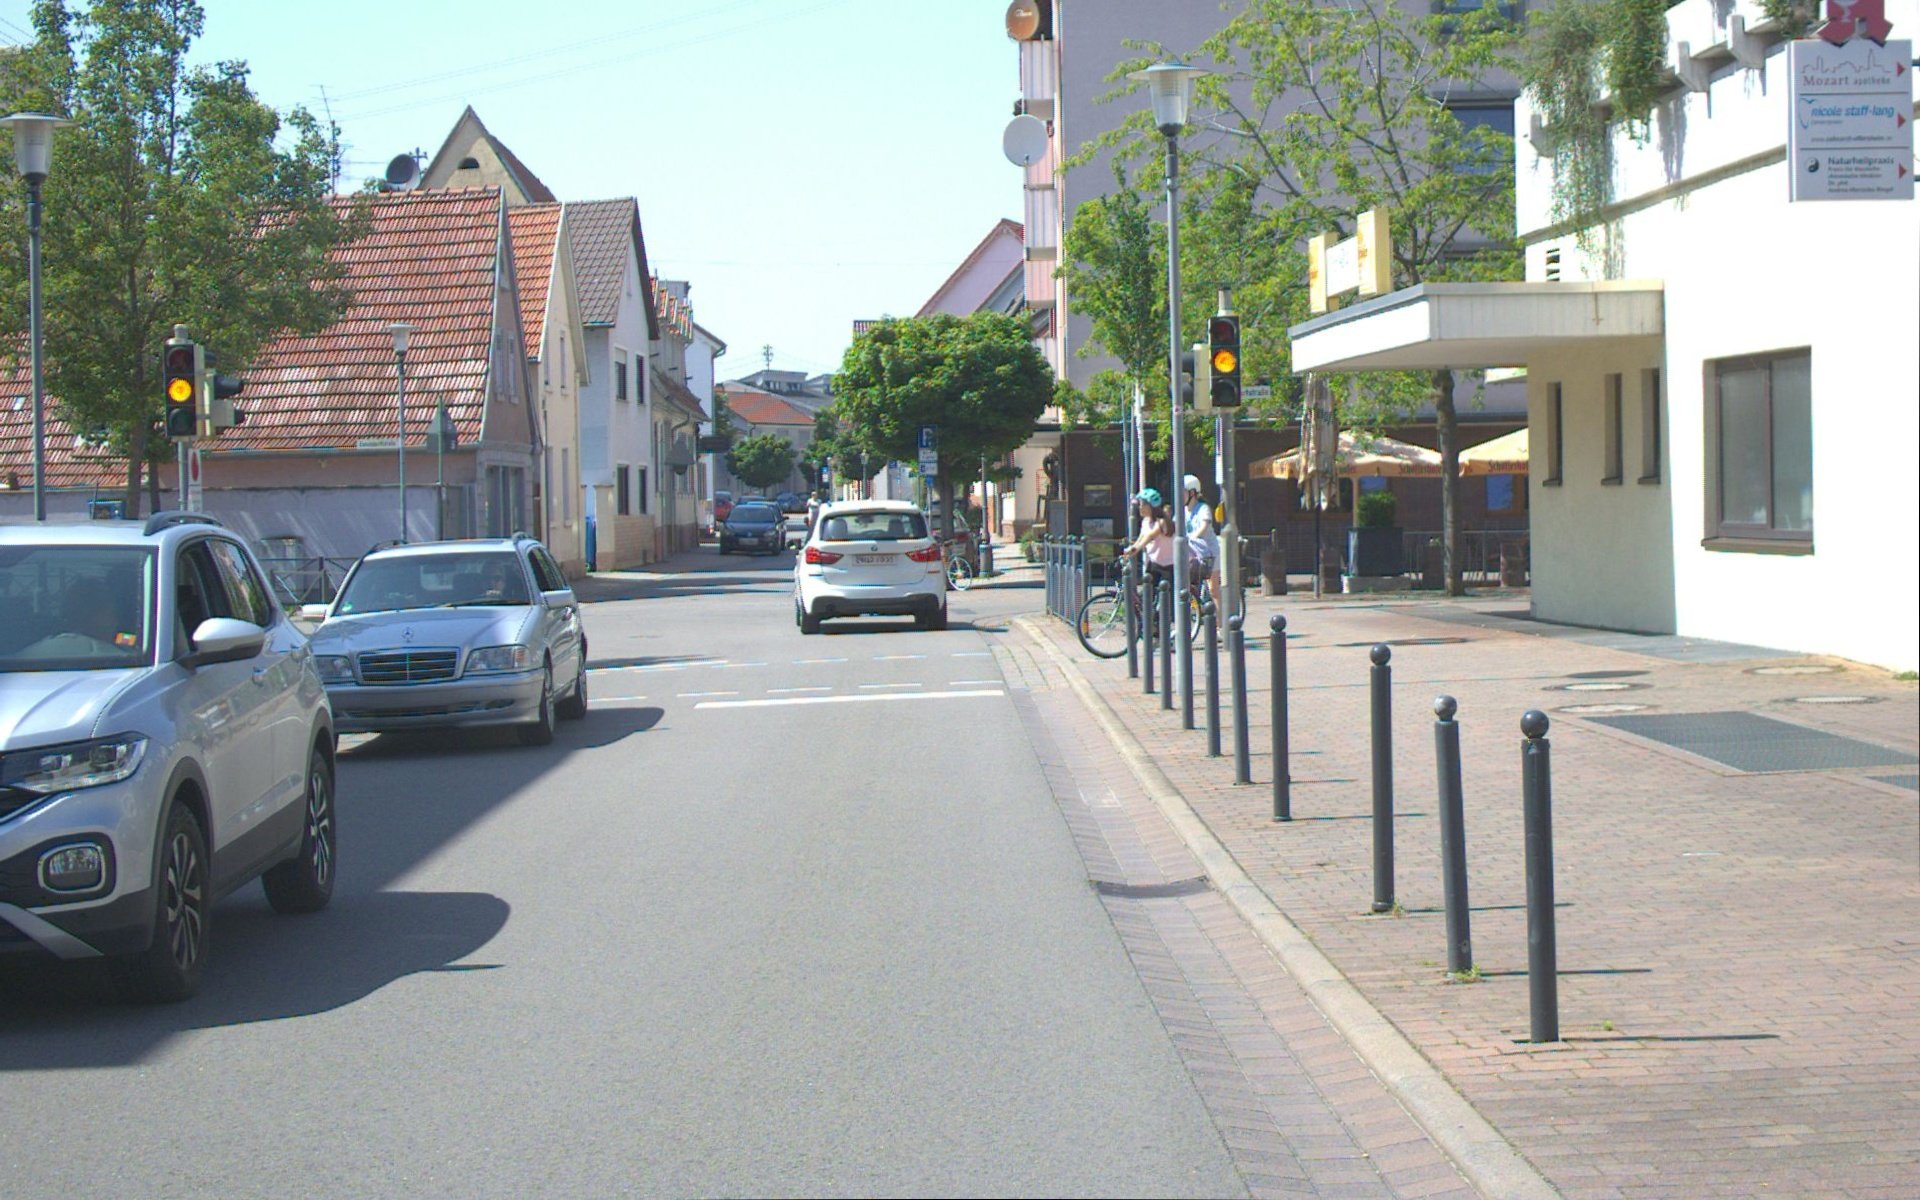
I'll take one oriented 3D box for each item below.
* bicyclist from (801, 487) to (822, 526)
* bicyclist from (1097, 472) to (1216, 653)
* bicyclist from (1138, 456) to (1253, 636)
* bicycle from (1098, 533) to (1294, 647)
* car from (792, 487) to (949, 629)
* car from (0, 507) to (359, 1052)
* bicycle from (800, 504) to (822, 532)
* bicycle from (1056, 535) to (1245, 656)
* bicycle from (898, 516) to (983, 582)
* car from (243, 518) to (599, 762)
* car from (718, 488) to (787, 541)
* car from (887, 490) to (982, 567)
[{"bbox_3d":[-5.606,-3.531,129.799,0.673,1.477,0.770,-1,2,2],"label":"bicyclist"},{"bbox_3d":[1.783,-0.340,31.111,0.670,1.576,0.760,-1,3,41],"label":"bicyclist"},{"bbox_3d":[2.239,-0.516,32.721,0.759,1.658,0.670,-5,3,-40],"label":"bicyclist"},{"bbox_3d":[2.257,-0.107,32.738,1.891,0.954,0.676,-5,3,-40],"label":"bicycle"},{"bbox_3d":[-1.135,-0.558,42.915,1.833,1.646,4.001,-1,2,-2],"label":"car"},{"bbox_3d":[-3.385,0.488,12.072,1.851,1.568,4.001,-1,2,-1],"label":"car"},{"bbox_3d":[-5.616,-3.103,129.735,0.664,1.002,1.897,-1,2,2],"label":"bicycle"},{"bbox_3d":[1.735,-0.047,31.065,0.675,0.954,1.892,-1,3,40],"label":"bicycle"},{"bbox_3d":[-0.356,-0.934,62.908,0.525,1.189,1.674,-3,2,-43],"label":"bicycle"},{"bbox_3d":[-3.807,0.214,25.028,1.880,1.459,4.437,-3,2,-1],"label":"car"},{"bbox_3d":[-6.149,-2.553,102.419,1.714,1.512,3.786,-1,2,1],"label":"car"},{"bbox_3d":[-0.508,-1.508,71.517,1.805,1.496,4.000,-1,2,2],"label":"car"}]
